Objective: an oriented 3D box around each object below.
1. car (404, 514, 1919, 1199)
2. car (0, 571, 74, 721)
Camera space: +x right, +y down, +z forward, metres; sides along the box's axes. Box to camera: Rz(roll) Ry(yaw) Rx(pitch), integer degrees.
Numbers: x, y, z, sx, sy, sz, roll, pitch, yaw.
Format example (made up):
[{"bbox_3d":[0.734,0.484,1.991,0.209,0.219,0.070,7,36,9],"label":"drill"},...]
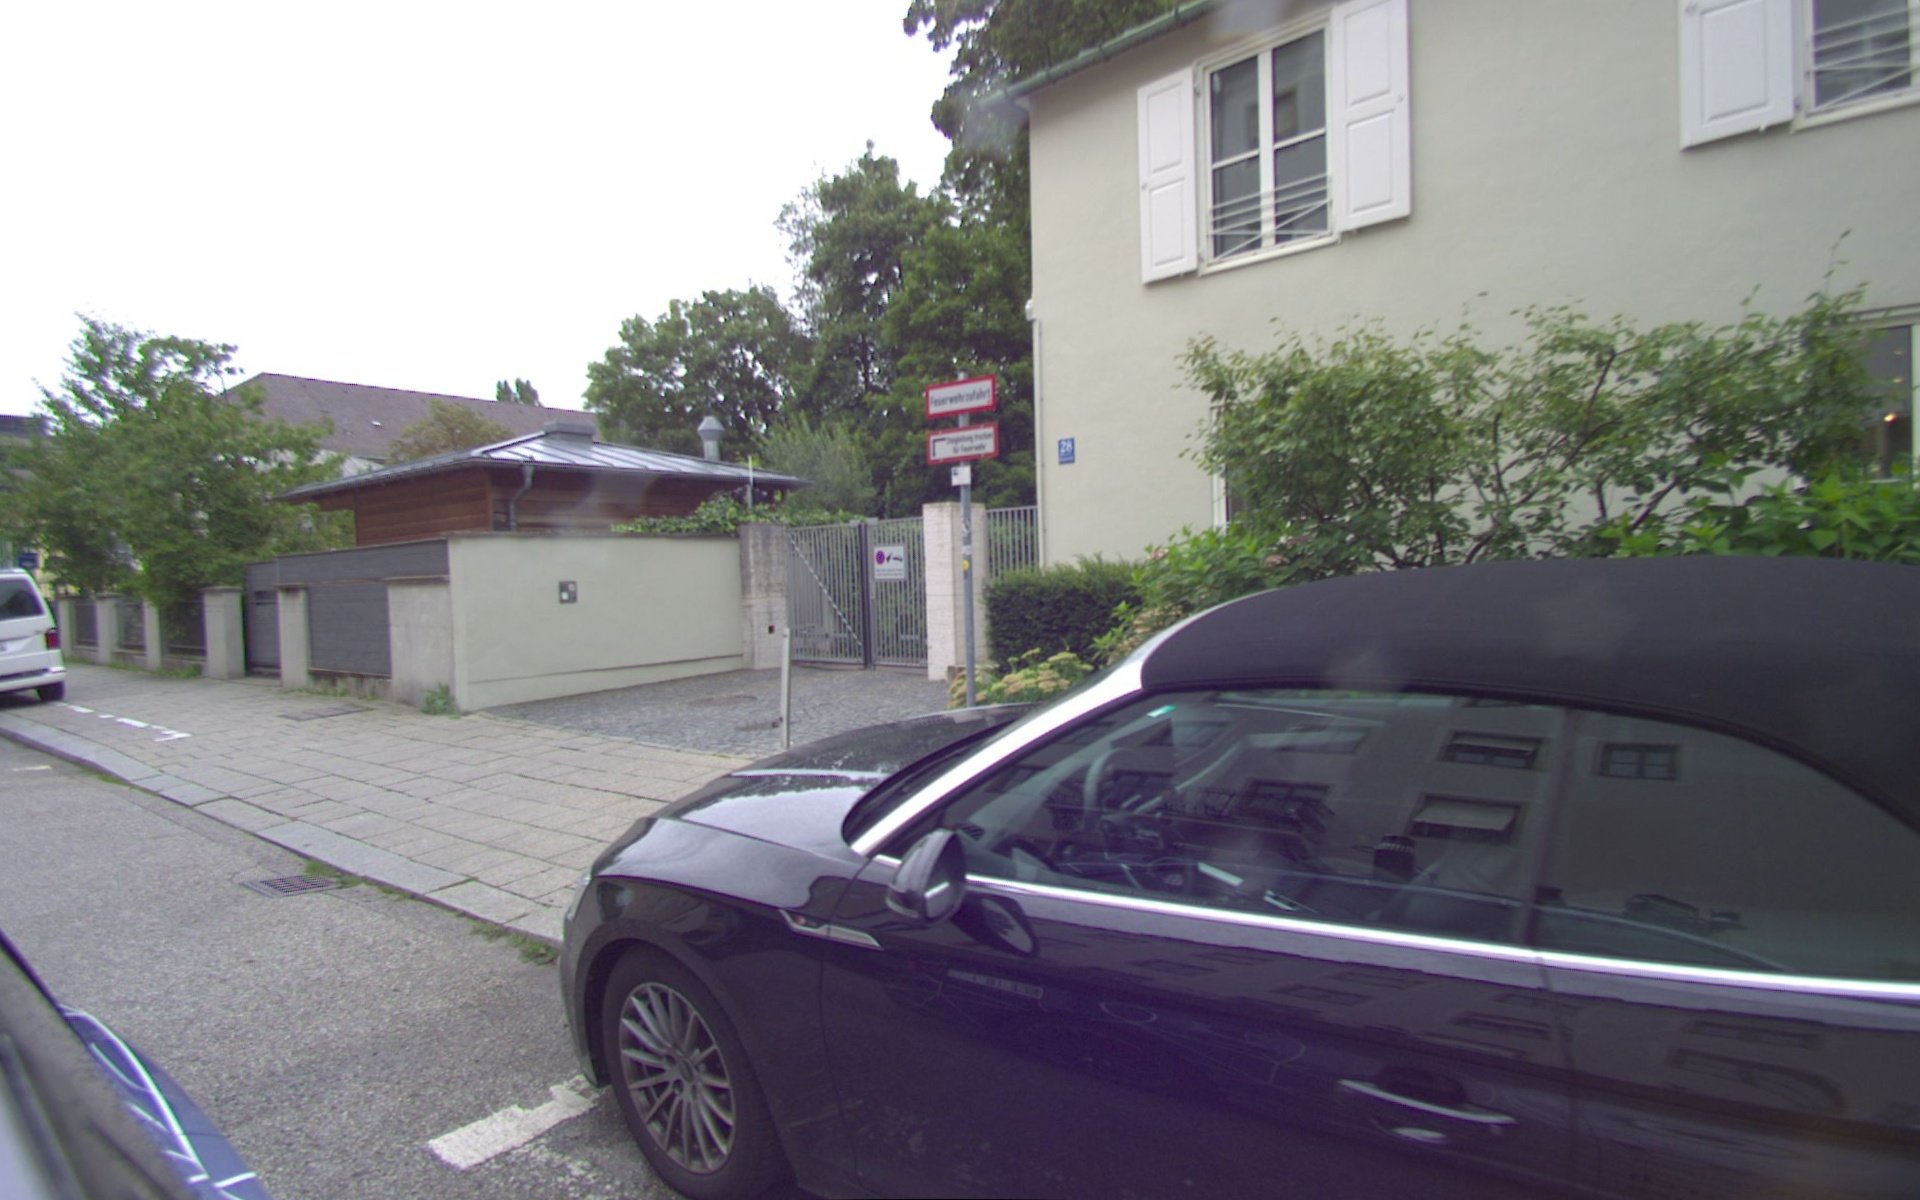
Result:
[{"bbox_3d":[0.947,0.582,2.142,4.915,1.412,1.791,-1,3,37],"label":"car"},{"bbox_3d":[-15.268,0.695,15.100,5.142,2.005,1.949,-1,3,37],"label":"car"}]
